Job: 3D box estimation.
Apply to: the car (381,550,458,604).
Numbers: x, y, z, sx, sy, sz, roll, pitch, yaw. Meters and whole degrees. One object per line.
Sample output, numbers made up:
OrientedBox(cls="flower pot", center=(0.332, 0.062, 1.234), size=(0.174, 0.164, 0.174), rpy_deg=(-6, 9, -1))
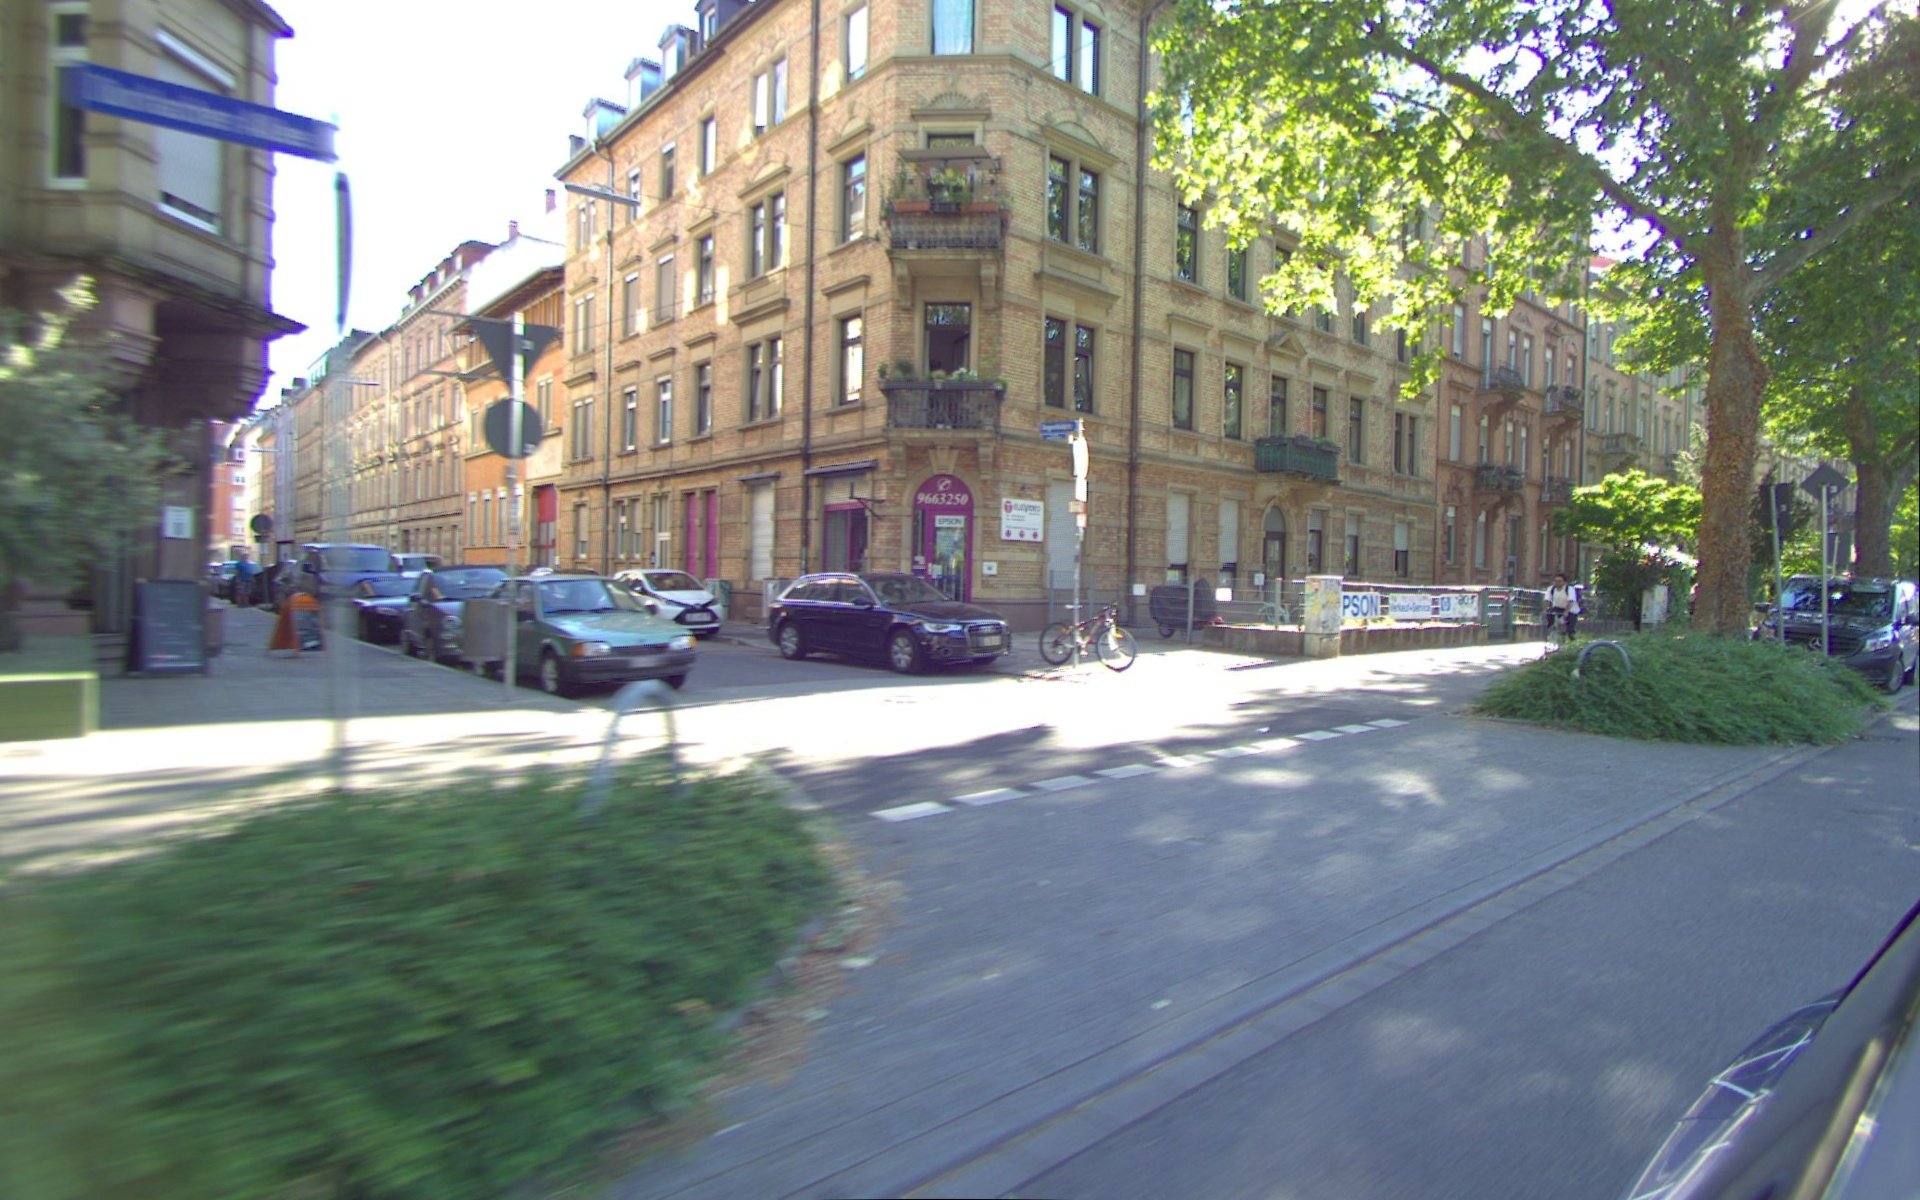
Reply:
OrientedBox(cls="car", center=(-21.758, -0.947, 40.666), size=(1.964, 2.038, 3.996), rpy_deg=(0, 2, -40))

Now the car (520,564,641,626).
OrientedBox(cls="car", center=(-10.007, -0.179, 26.561), size=(1.712, 1.513, 3.995), rpy_deg=(0, 2, -41))

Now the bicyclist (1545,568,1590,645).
OrientedBox(cls="bicyclist", center=(11.243, 0.130, 18.727), size=(0.633, 1.398, 0.543), rpy_deg=(2, -2, -42))

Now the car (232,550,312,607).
OrientedBox(cls="car", center=(-22.904, -0.724, 33.639), size=(1.830, 1.779, 3.996), rpy_deg=(0, 2, -40))

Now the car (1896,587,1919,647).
OrientedBox(cls="car", center=(27.871, 0.476, 28.482), size=(4.422, 1.567, 1.718), rpy_deg=(-1, 3, -41))

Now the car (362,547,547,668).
OrientedBox(cls="car", center=(-8.103, 0.029, 16.042), size=(1.859, 1.667, 3.907), rpy_deg=(0, 2, -38))

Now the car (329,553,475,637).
OrientedBox(cls="car", center=(-11.165, -0.148, 20.150), size=(1.892, 1.504, 3.655), rpy_deg=(0, 2, -40))

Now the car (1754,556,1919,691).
OrientedBox(cls="car", center=(15.870, 0.347, 17.909), size=(5.113, 2.038, 1.997), rpy_deg=(1, 2, -43))

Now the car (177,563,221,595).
OrientedBox(cls="car", center=(-43.867, -1.218, 58.283), size=(1.830, 1.779, 3.996), rpy_deg=(0, 2, -40))

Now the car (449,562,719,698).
OrientedBox(cls="car", center=(-4.806, 0.276, 12.628), size=(1.714, 1.382, 3.992), rpy_deg=(2, 1, -43))

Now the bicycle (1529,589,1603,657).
OrientedBox(cls="bicycle", center=(11.217, 0.445, 18.698), size=(2.188, 1.193, 0.561), rpy_deg=(2, -3, -43))

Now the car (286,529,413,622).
OrientedBox(cls="car", center=(-14.887, -0.619, 24.545), size=(1.964, 2.038, 4.616), rpy_deg=(0, 2, -40))

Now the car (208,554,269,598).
OrientedBox(cls="car", center=(-30.990, -1.057, 43.413), size=(1.830, 1.779, 3.996), rpy_deg=(0, 2, -40))

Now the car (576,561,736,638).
OrientedBox(cls="car", center=(-6.916, -0.064, 22.799), size=(1.715, 1.567, 4.121), rpy_deg=(0, 2, -45))

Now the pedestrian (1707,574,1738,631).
OrientedBox(cls="pedestrian", center=(22.706, 0.072, 30.153), size=(0.607, 1.648, 0.531), rpy_deg=(2, 2, -41))

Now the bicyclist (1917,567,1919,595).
OrientedBox(cls="bicyclist", center=(57.362, -1.104, 60.214), size=(0.543, 1.645, 0.634), rpy_deg=(3, 2, 45))

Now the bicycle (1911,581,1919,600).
OrientedBox(cls="bicycle", center=(57.123, -0.550, 60.300), size=(0.560, 1.051, 1.904), rpy_deg=(-4, -3, 41))

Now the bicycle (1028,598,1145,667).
OrientedBox(cls="bicycle", center=(1.888, 0.465, 15.227), size=(1.687, 0.928, 0.594), rpy_deg=(2, 1, 39))

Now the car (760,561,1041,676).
OrientedBox(cls="car", center=(-1.081, 0.190, 16.162), size=(4.604, 1.567, 1.892), rpy_deg=(2, 1, 45))

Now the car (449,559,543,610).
OrientedBox(cls="car", center=(-14.914, -0.522, 32.435), size=(1.712, 1.513, 3.995), rpy_deg=(0, 2, -41))

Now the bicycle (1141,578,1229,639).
OrientedBox(cls="bicycle", center=(4.543, 0.145, 20.557), size=(0.467, 1.168, 1.868), rpy_deg=(0, 1, -37))
